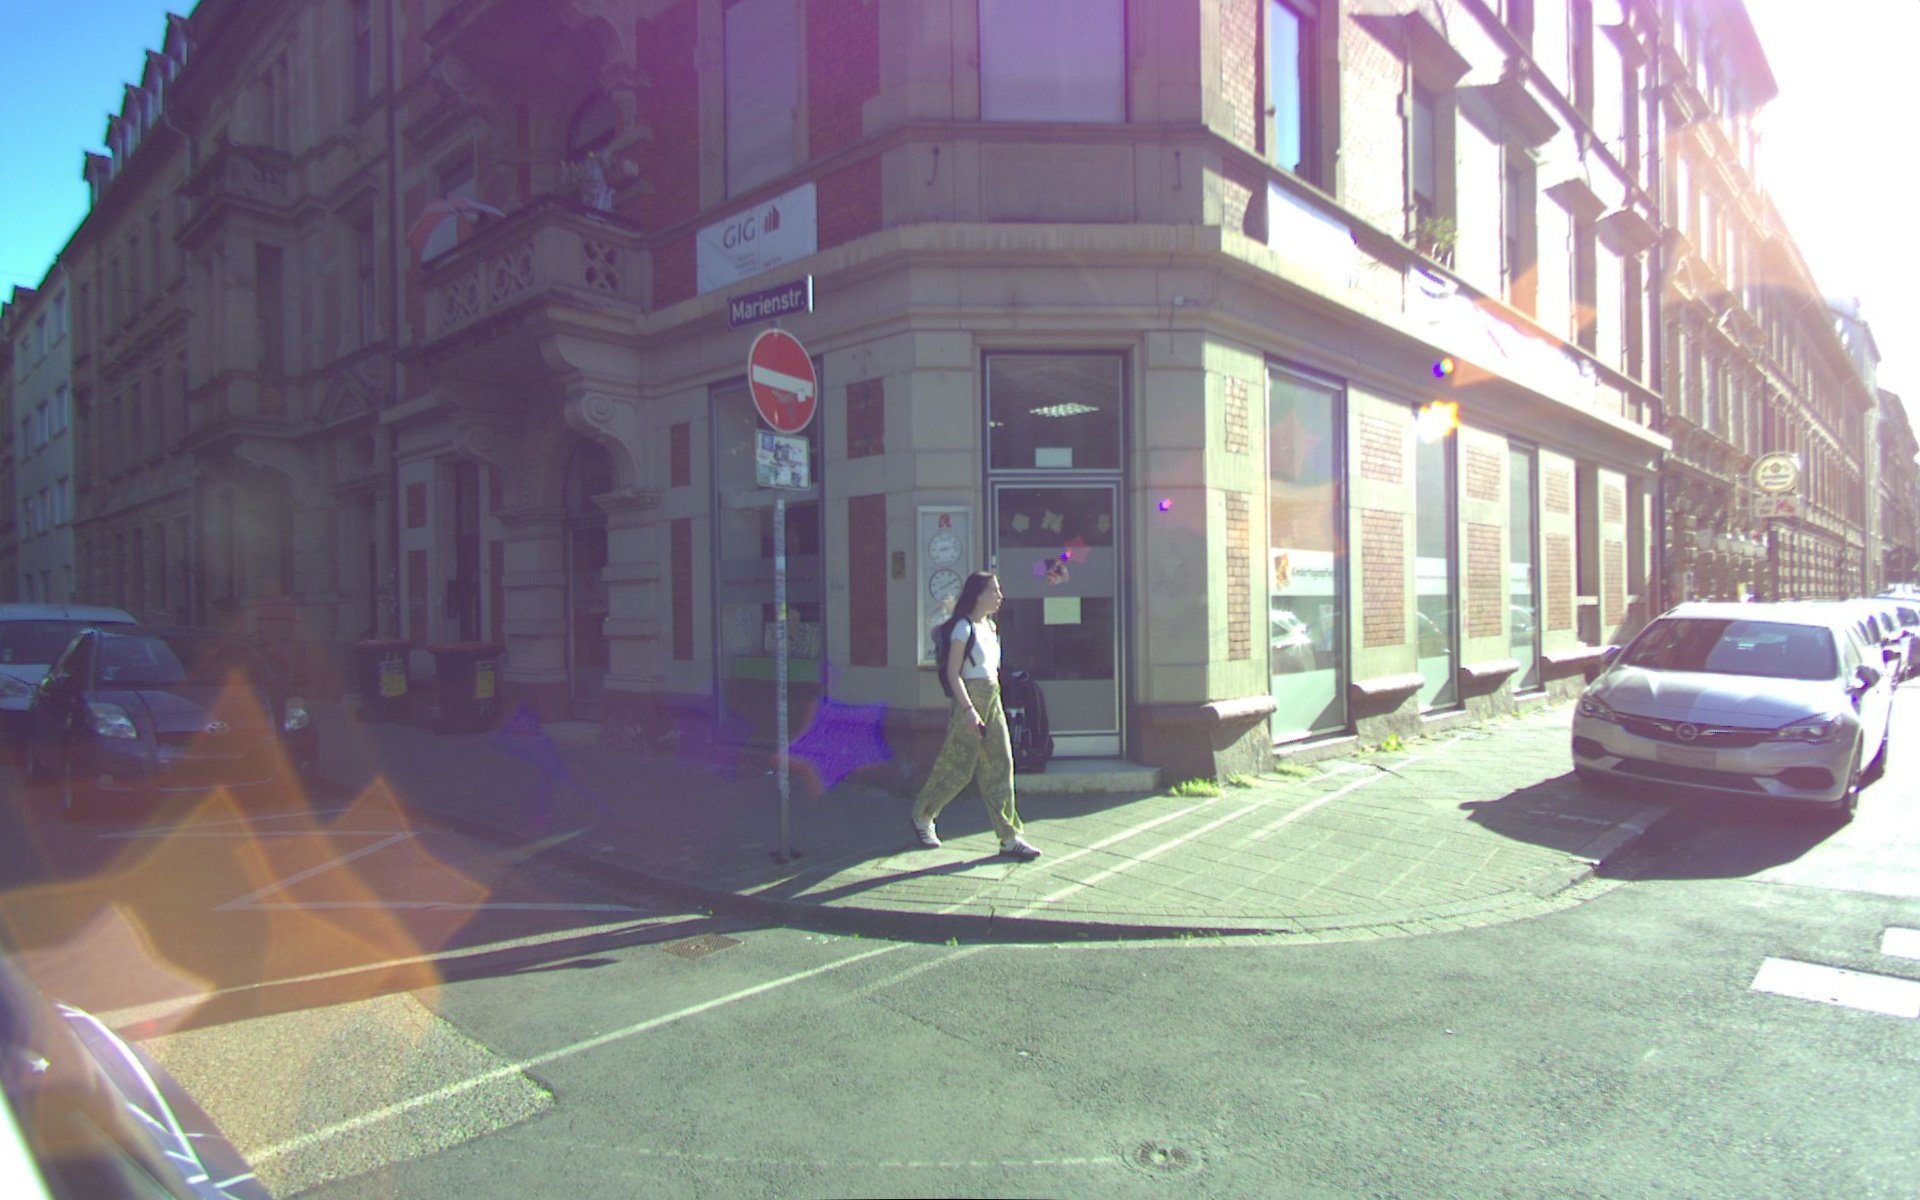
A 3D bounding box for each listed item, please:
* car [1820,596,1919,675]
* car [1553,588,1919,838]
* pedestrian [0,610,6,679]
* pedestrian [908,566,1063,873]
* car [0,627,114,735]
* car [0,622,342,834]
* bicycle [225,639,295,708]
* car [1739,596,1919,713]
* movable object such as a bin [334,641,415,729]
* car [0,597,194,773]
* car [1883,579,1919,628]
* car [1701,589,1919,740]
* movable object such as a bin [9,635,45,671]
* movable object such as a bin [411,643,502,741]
[{"bbox_3d":[19.903,0.699,21.776,3.482,1.542,1.774,0,2,-44],"label":"car"},{"bbox_3d":[6.747,0.694,8.553,4.375,1.542,1.869,0,2,-44],"label":"car"},{"bbox_3d":[-26.984,1.235,28.115,0.904,1.896,0.573,0,1,41],"label":"pedestrian"},{"bbox_3d":[0.144,0.633,5.879,0.717,1.656,0.542,1,2,40],"label":"pedestrian"},{"bbox_3d":[-14.921,1.197,15.896,3.967,1.525,1.676,-1,-3,38],"label":"car"},{"bbox_3d":[-7.233,0.970,9.101,3.970,1.492,1.675,-2,-3,40],"label":"car"},{"bbox_3d":[-11.738,1.202,16.951,1.545,1.049,0.565,-1,1,41],"label":"bicycle"},{"bbox_3d":[13.412,0.729,15.540,3.482,1.542,1.774,0,2,-44],"label":"car"},{"bbox_3d":[-7.672,1.090,13.259,0.855,1.049,0.631,-1,1,40],"label":"movable object such as a bin"},{"bbox_3d":[-11.245,0.948,12.564,4.569,1.825,1.812,-2,-3,41],"label":"car"},{"bbox_3d":[31.568,0.103,33.119,3.482,1.542,1.774,0,2,-44],"label":"car"},{"bbox_3d":[10.575,0.661,12.426,3.637,1.542,1.774,0,2,-44],"label":"car"},{"bbox_3d":[-29.179,1.649,31.658,0.666,1.096,0.791,0,0,44],"label":"movable object such as a bin"},{"bbox_3d":[-5.897,1.051,11.849,0.855,1.049,0.631,-1,1,40],"label":"movable object such as a bin"}]
